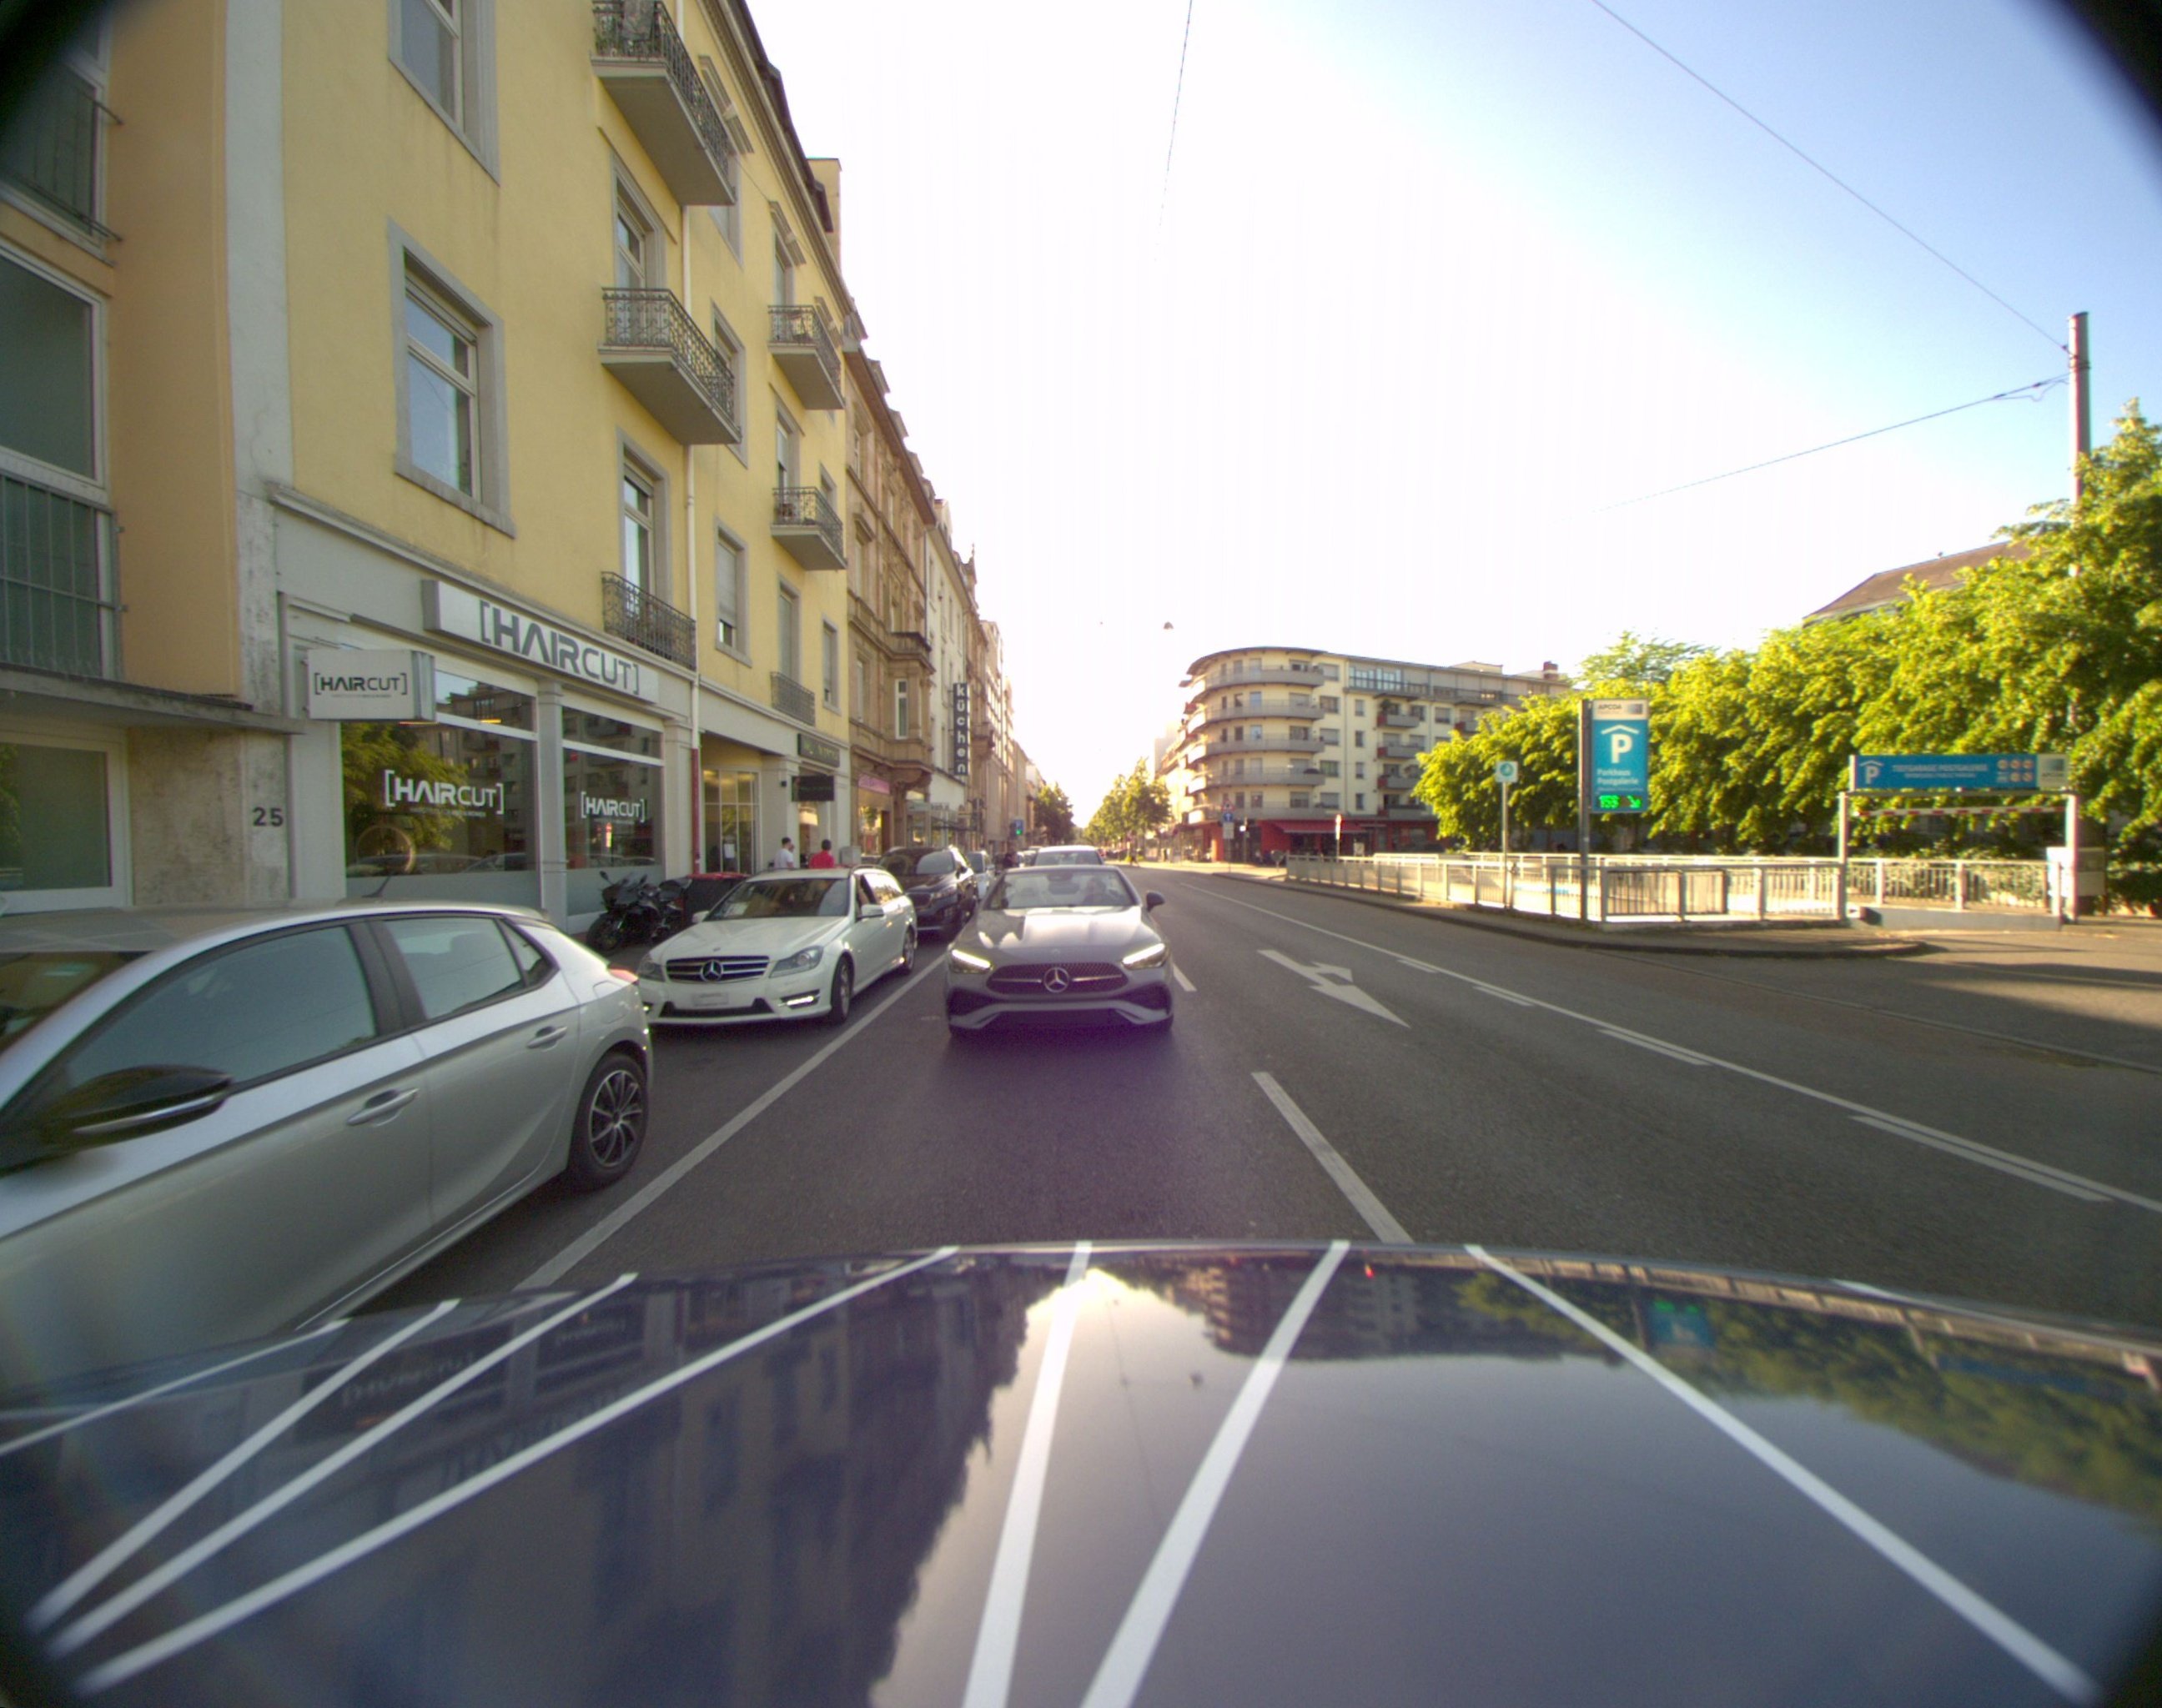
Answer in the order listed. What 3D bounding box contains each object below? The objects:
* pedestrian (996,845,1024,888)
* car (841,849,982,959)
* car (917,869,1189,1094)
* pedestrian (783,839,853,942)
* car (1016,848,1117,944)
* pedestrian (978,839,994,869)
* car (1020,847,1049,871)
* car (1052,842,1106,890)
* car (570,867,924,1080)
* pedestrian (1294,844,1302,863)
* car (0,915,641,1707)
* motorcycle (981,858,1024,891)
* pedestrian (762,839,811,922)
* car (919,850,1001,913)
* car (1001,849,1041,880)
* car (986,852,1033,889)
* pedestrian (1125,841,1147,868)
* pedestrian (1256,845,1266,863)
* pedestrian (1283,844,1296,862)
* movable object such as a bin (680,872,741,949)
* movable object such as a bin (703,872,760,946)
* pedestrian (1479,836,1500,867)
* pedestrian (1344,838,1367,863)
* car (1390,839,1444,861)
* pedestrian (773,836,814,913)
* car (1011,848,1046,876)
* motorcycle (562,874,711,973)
[{"bbox_3d":[-2.752,0.480,29.514,0.833,1.657,0.694,-1,1,20],"label":"pedestrian"},{"bbox_3d":[-2.999,0.774,14.446,1.858,1.688,4.696,-2,1,-4],"label":"car"},{"bbox_3d":[-0.216,0.930,7.428,1.849,1.371,4.255,-2,1,-1],"label":"car"},{"bbox_3d":[-4.762,0.638,13.818,0.866,1.774,1.008,3,2,-1],"label":"pedestrian"},{"bbox_3d":[-0.230,0.713,15.191,1.716,1.599,3.999,-1,1,1],"label":"car"},{"bbox_3d":[-5.300,-0.013,42.476,0.795,1.608,0.763,-1,1,-1],"label":"pedestrian"},{"bbox_3d":[-3.063,0.282,50.597,1.715,1.477,4.062,-1,1,0],"label":"car"},{"bbox_3d":[-0.047,0.407,30.307,1.952,1.742,3.999,-1,1,1],"label":"car"},{"bbox_3d":[-3.034,0.960,8.145,1.759,1.453,4.597,-1,1,-1],"label":"car"},{"bbox_3d":[17.891,-0.053,62.535,0.581,1.481,0.793,-1,1,13],"label":"pedestrian"},{"bbox_3d":[-2.995,1.041,1.899,1.654,1.390,3.704,-1,1,-1],"label":"car"},{"bbox_3d":[-3.061,0.800,29.797,0.769,1.225,1.546,0,1,42],"label":"motorcycle"},{"bbox_3d":[-5.861,0.514,15.142,0.642,1.608,0.700,-1,1,-1],"label":"pedestrian"},{"bbox_3d":[-3.289,0.710,21.144,1.696,1.559,3.018,-1,1,1],"label":"car"},{"bbox_3d":[-3.071,0.490,39.487,1.715,1.477,3.999,-1,1,0],"label":"car"},{"bbox_3d":[-3.116,0.696,33.736,1.715,1.477,3.999,-1,1,0],"label":"car"},{"bbox_3d":[4.129,0.049,57.054,1.201,2.002,1.019,-3,2,-22],"label":"pedestrian"},{"bbox_3d":[14.992,-0.019,63.302,0.791,1.452,0.583,-1,1,10],"label":"pedestrian"},{"bbox_3d":[17.628,-0.088,64.189,0.583,1.453,0.790,-3,2,-37],"label":"pedestrian"},{"bbox_3d":[-6.084,0.920,12.494,0.647,1.200,0.644,-1,1,1],"label":"movable object such as a bin"},{"bbox_3d":[-6.034,0.936,13.146,0.647,1.200,0.644,-1,1,1],"label":"movable object such as a bin"},{"bbox_3d":[24.225,-0.161,45.081,0.755,1.795,0.756,-2,1,-16],"label":"pedestrian"},{"bbox_3d":[22.579,-0.274,62.417,1.234,2.002,1.259,-2,1,-22],"label":"pedestrian"},{"bbox_3d":[28.970,-0.371,65.503,4.004,1.740,1.996,-2,1,-23],"label":"car"},{"bbox_3d":[-6.112,0.421,16.166,0.572,1.608,0.643,-1,1,1],"label":"pedestrian"},{"bbox_3d":[-3.010,0.405,44.004,1.715,1.477,3.999,-1,1,0],"label":"car"},{"bbox_3d":[-6.234,0.924,10.832,0.773,1.158,2.247,1,1,1],"label":"motorcycle"}]
